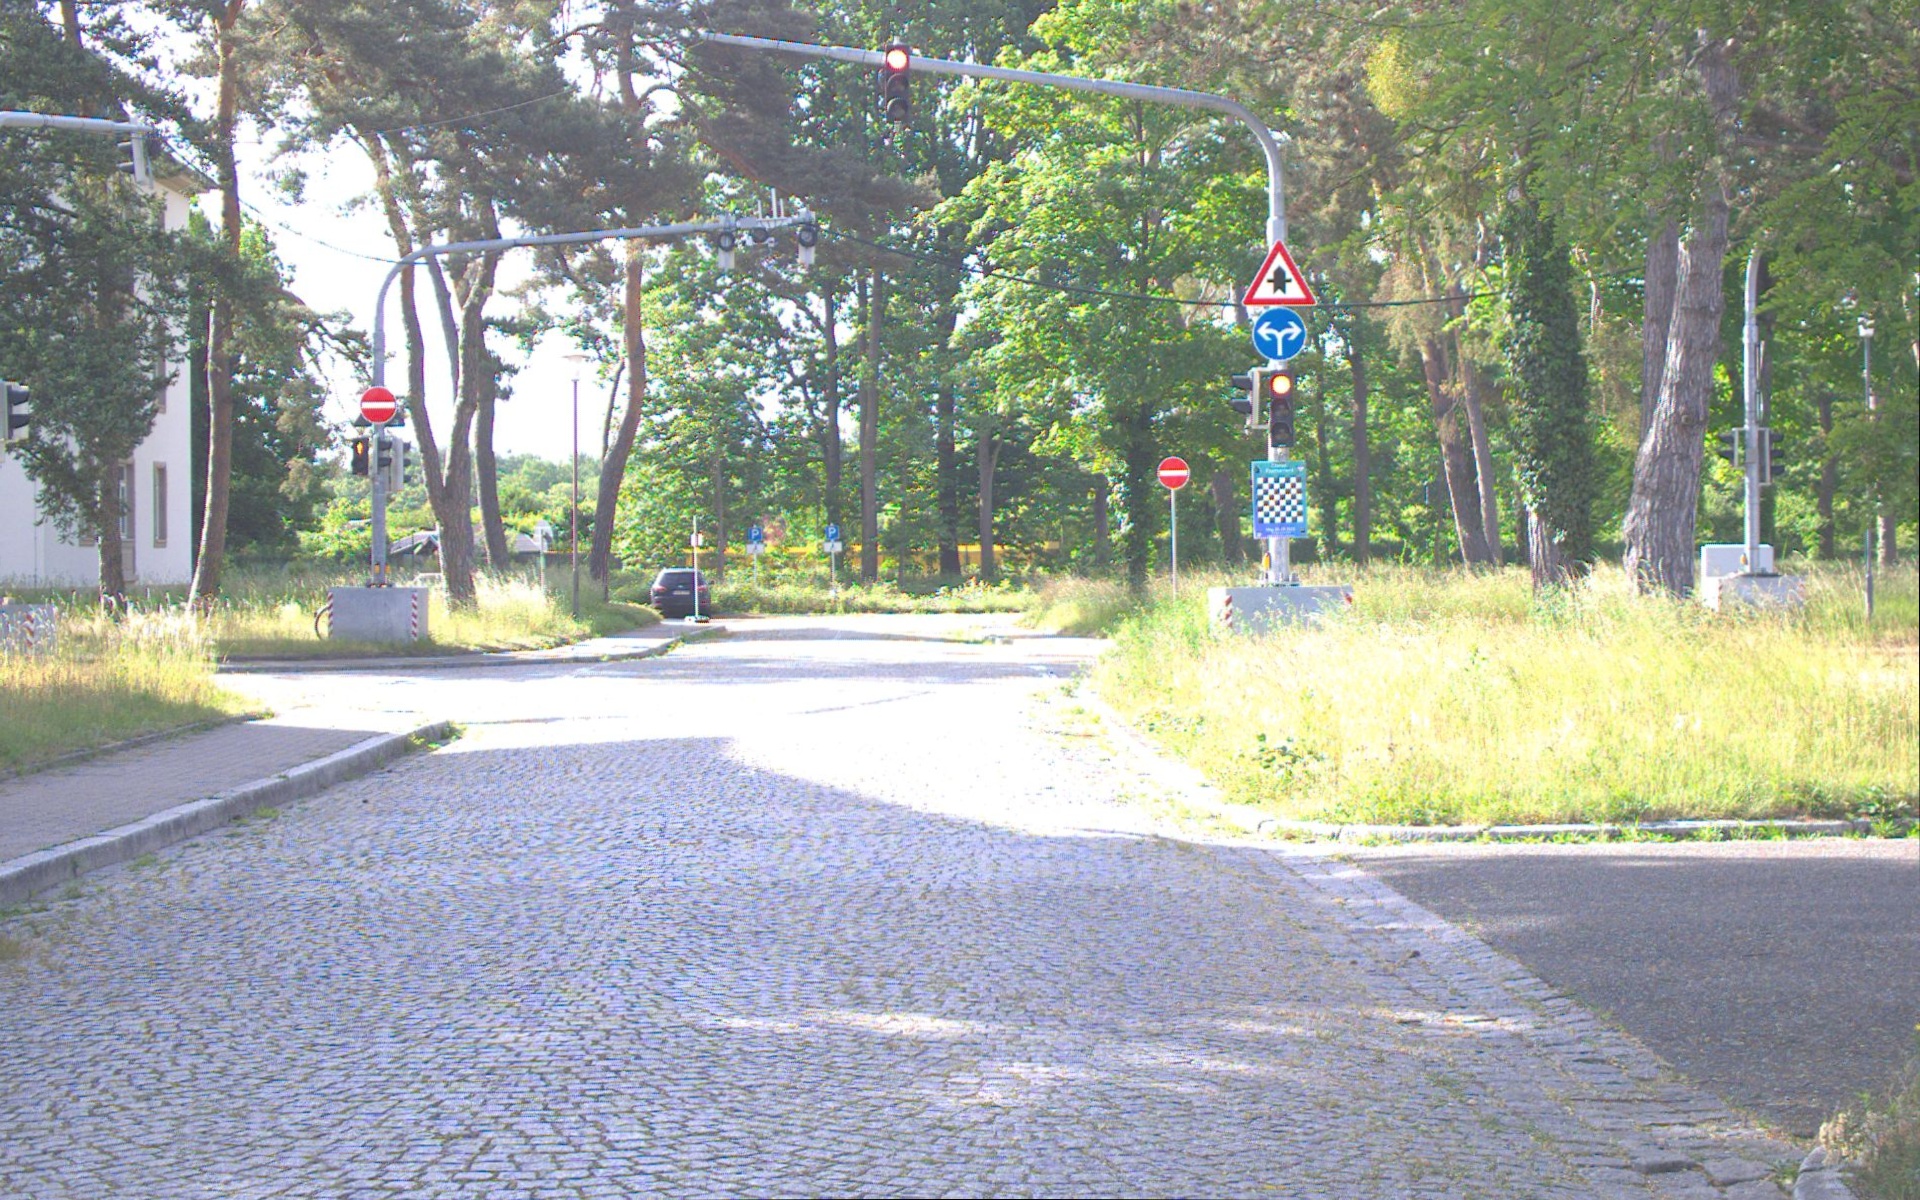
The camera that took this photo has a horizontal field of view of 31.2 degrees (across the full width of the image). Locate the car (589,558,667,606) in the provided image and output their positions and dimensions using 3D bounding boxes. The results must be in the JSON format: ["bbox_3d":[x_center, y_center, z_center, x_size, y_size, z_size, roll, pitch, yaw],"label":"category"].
[{"bbox_3d":[-10.675,-0.586,110.658,1.783,1.485,3.754,0,1,6],"label":"car"}]

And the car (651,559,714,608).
[{"bbox_3d":[-8.545,-0.518,105.940,1.844,1.481,4.001,0,1,-4],"label":"car"}]
